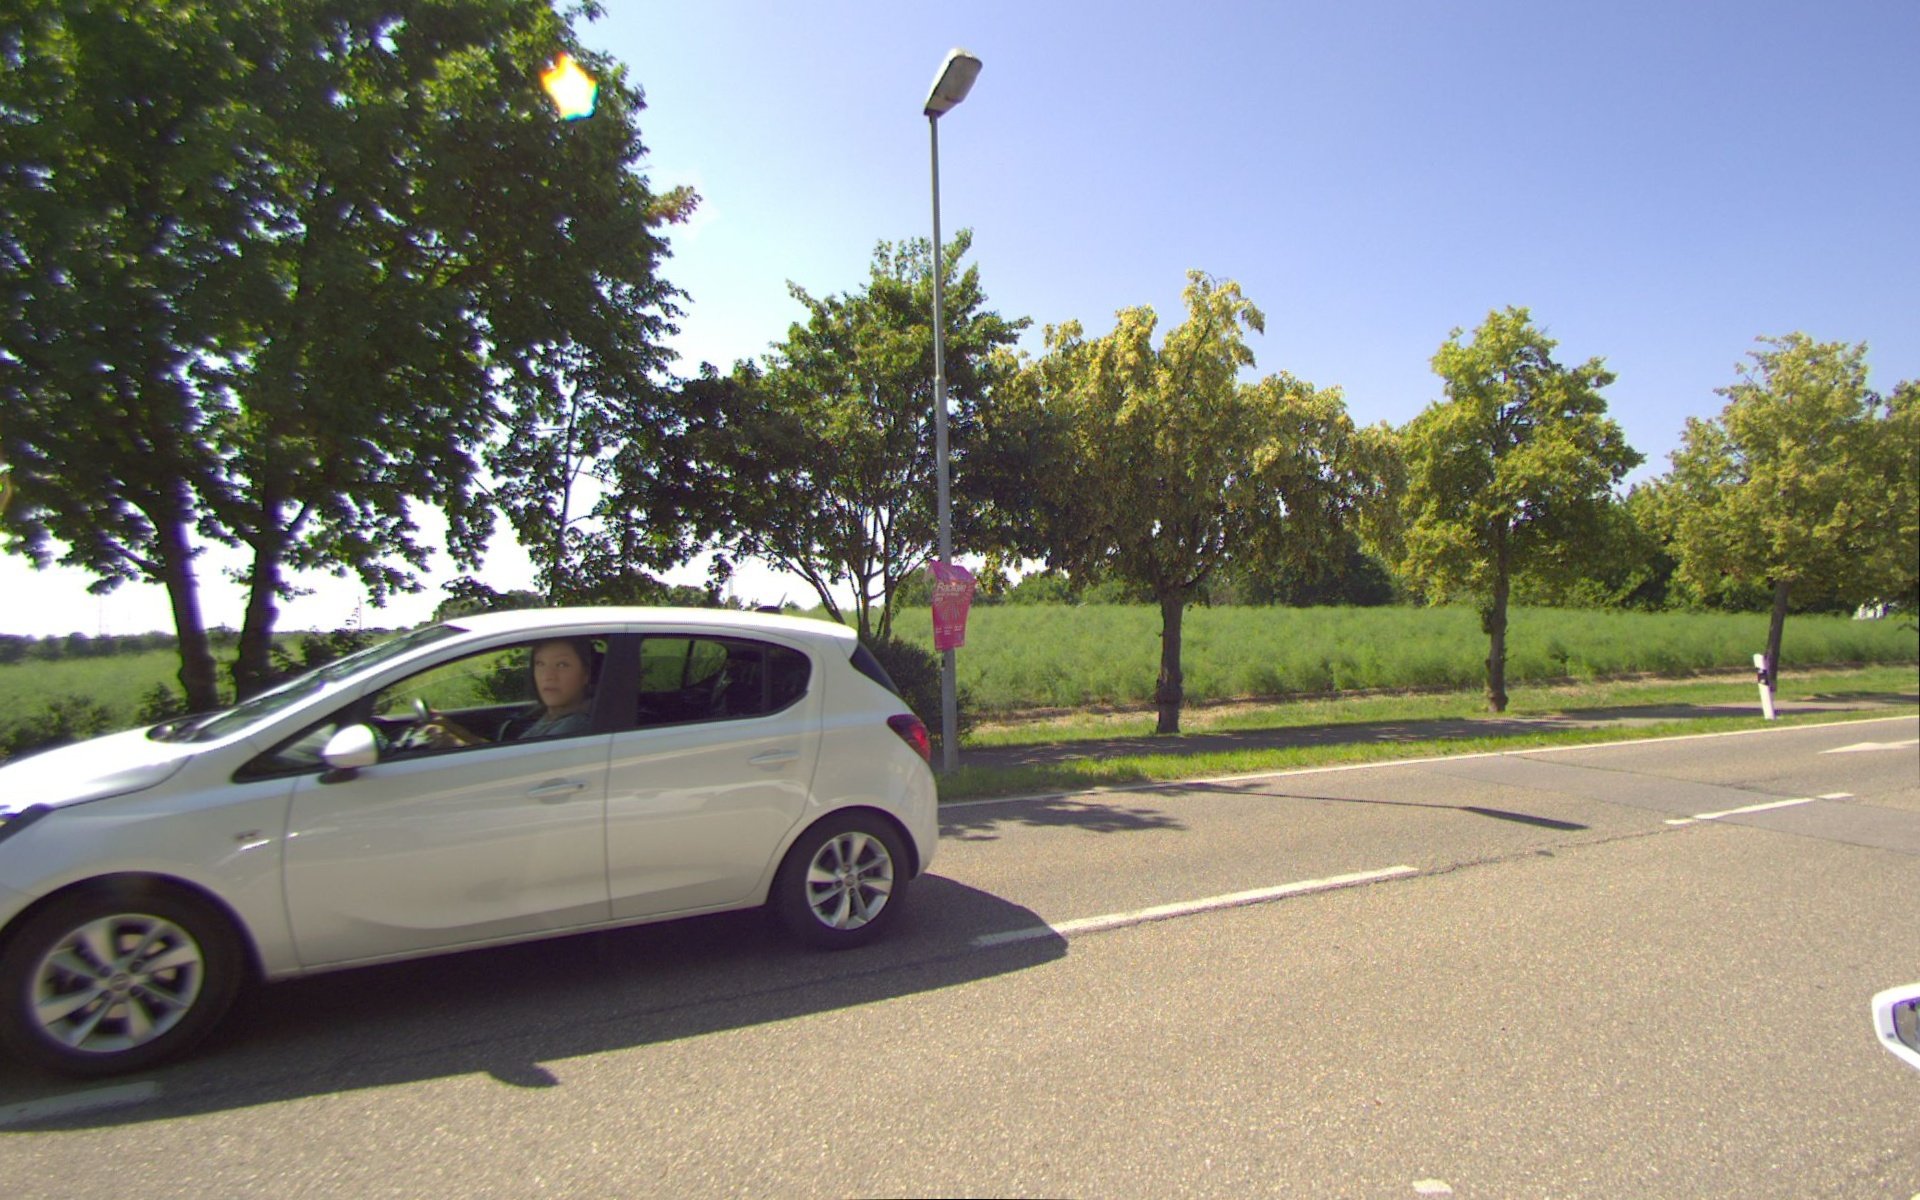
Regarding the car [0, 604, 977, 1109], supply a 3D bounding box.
[{"bbox_3d":[-1.988,0.766,4.341,3.852,1.453,1.640,1,0,-31],"label":"car"}]
